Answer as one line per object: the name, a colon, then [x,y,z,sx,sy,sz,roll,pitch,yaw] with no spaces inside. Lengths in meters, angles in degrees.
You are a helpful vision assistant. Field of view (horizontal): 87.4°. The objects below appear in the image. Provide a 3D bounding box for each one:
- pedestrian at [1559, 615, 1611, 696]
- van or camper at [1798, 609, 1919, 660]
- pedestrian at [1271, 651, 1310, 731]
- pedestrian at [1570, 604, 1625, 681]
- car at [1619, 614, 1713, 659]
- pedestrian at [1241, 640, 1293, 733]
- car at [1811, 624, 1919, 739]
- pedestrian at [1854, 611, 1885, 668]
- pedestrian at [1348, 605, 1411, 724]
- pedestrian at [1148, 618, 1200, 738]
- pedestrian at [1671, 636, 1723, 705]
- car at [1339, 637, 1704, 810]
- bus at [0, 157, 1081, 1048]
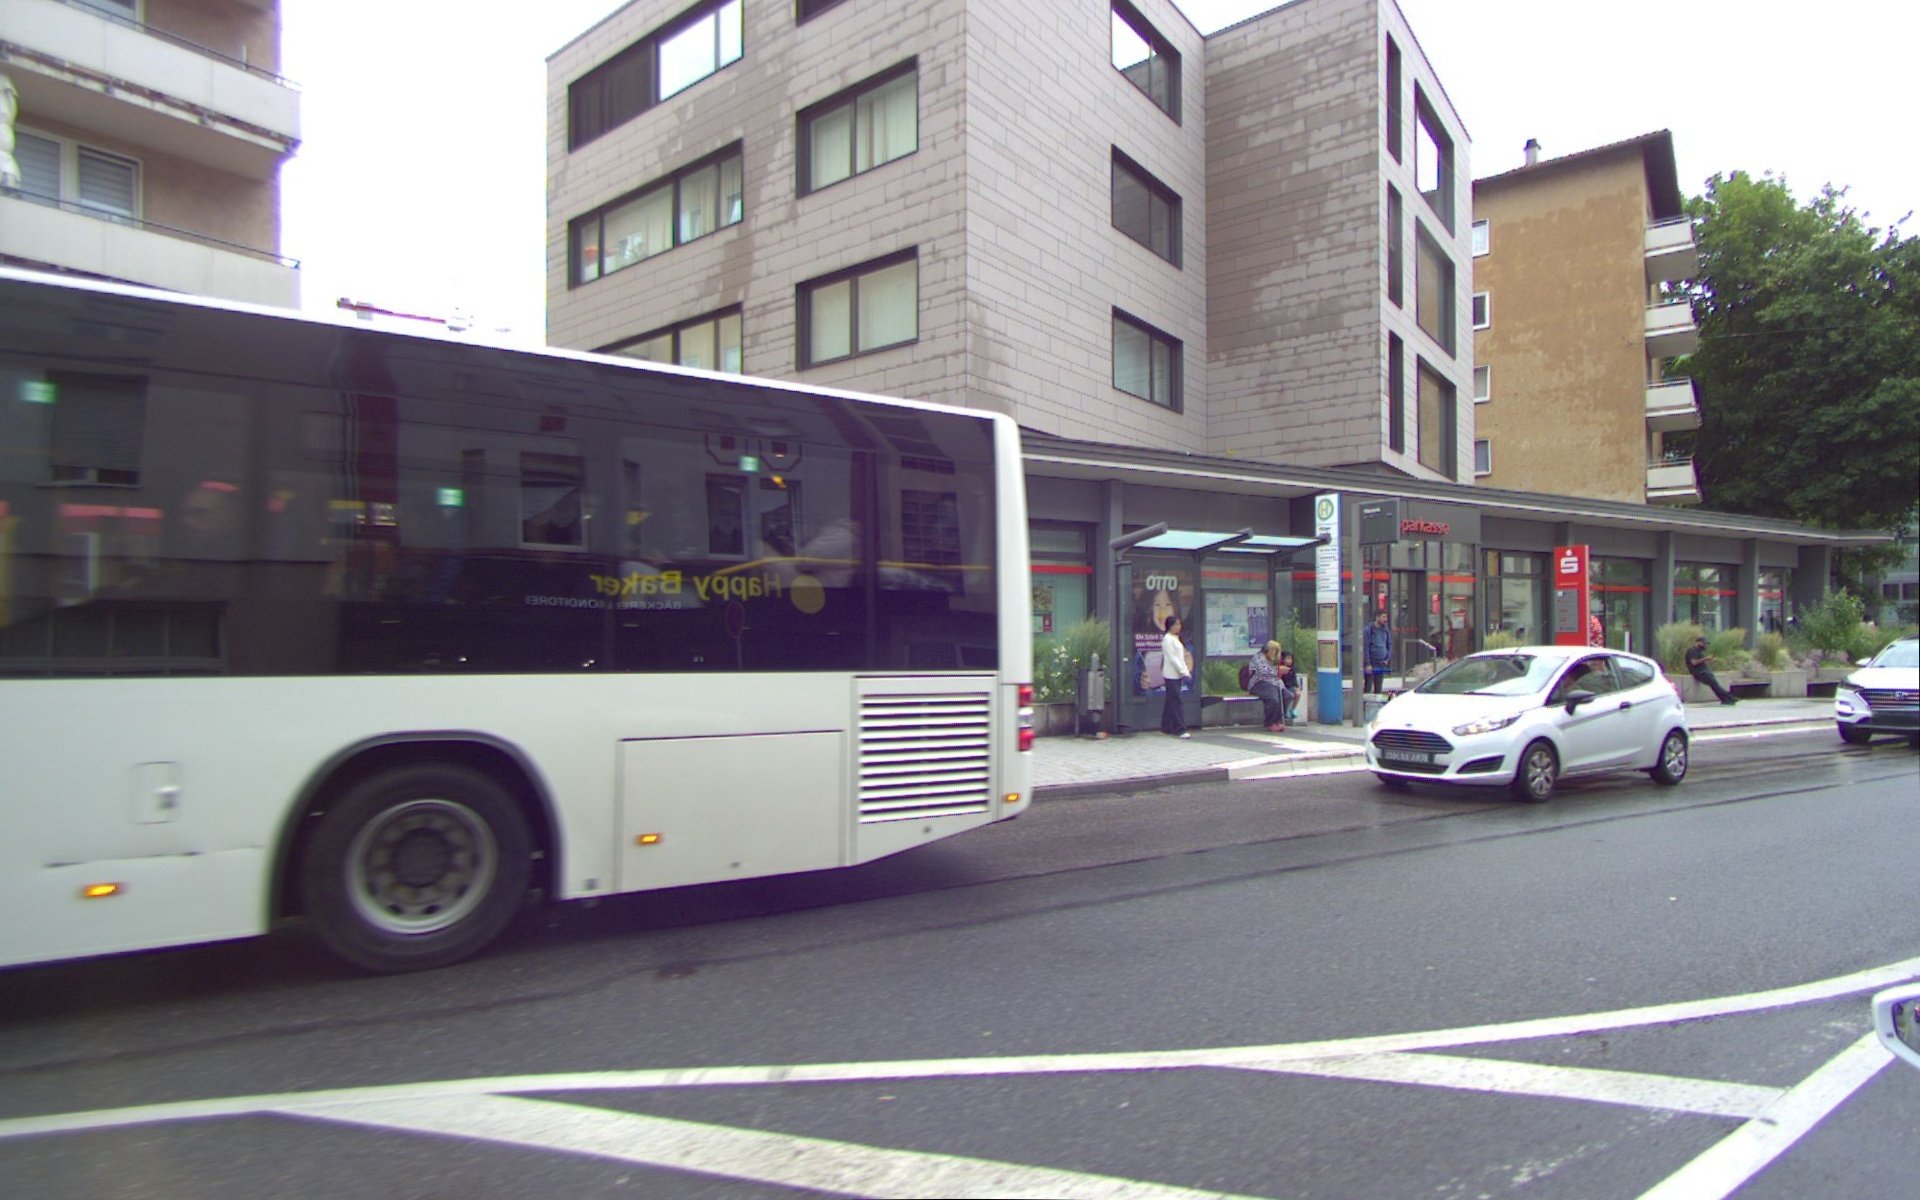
pedestrian: [13.426,1.180,21.585,0.705,1.700,0.710,1,-1,-30]
van or camper: [44.678,1.655,49.727,4.538,2.297,2.206,2,1,32]
pedestrian: [4.806,1.315,14.609,0.381,1.131,0.390,1,-1,-29]
pedestrian: [14.279,0.951,22.509,0.784,1.700,0.713,0,-1,-1]
car: [37.239,1.907,53.087,3.932,2.285,1.995,-1,-2,33]
pedestrian: [4.390,1.219,14.352,0.542,1.294,0.466,1,-1,-29]
car: [14.882,1.203,15.102,4.076,1.593,1.887,2,-4,-30]
pedestrian: [29.116,1.262,32.165,0.647,1.782,0.718,-1,-2,38]
pedestrian: [6.718,1.018,16.092,0.863,1.843,0.585,1,-1,-38]
pedestrian: [2.872,1.034,13.465,0.527,1.570,0.435,1,-1,-30]
pedestrian: [15.897,1.509,21.684,0.710,1.439,0.592,0,-1,6]
car: [5.871,1.140,10.436,3.761,1.483,1.608,1,-2,-30]
bus: [-5.098,0.064,4.401,11.819,3.287,2.794,2,-6,-30]
